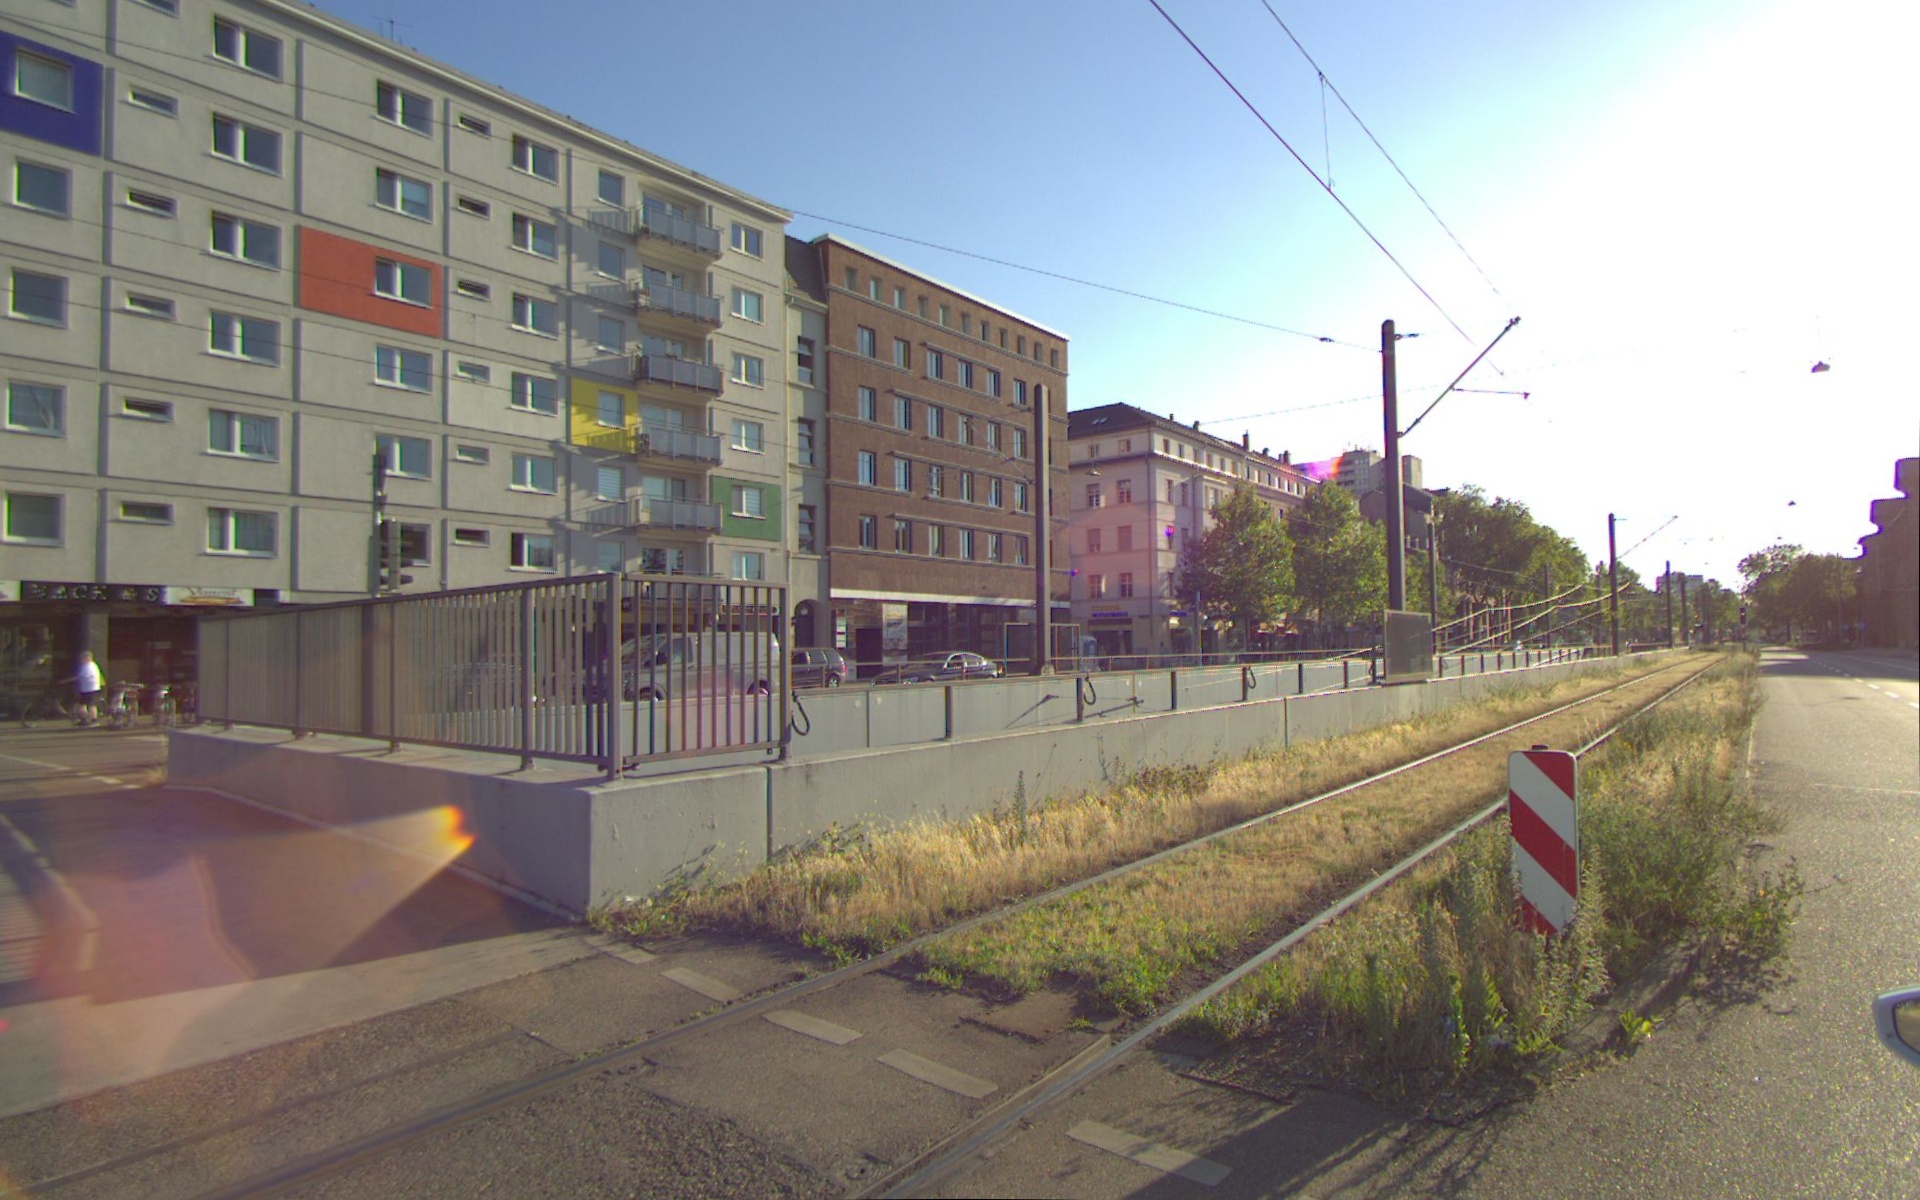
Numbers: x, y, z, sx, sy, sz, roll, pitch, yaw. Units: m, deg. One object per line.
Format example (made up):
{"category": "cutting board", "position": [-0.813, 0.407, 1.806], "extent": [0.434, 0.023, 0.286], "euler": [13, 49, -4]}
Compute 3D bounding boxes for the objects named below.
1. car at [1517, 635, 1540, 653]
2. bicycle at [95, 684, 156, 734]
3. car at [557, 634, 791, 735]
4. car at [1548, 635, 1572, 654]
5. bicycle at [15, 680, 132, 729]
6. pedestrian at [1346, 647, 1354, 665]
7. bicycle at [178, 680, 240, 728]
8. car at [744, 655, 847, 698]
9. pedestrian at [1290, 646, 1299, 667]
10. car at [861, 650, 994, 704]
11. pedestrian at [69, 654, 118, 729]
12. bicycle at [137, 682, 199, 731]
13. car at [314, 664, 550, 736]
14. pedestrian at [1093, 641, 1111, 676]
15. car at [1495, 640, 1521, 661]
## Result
{"category": "car", "position": [73.467, 5.654, 129.718], "extent": [1.970, 2.274, 3.983], "euler": [-2, -3, 39]}
{"category": "bicycle", "position": [-19.562, 2.522, 23.533], "extent": [2.266, 1.065, 0.733], "euler": [-3, -4, 41]}
{"category": "car", "position": [-6.347, 1.826, 22.855], "extent": [1.969, 2.040, 4.918], "euler": [-3, -3, 38]}
{"category": "car", "position": [65.727, 4.882, 110.005], "extent": [1.967, 2.040, 3.988], "euler": [-2, -3, 34]}
{"category": "bicycle", "position": [-21.396, 2.496, 24.305], "extent": [0.510, 1.105, 2.065], "euler": [-3, -4, 25]}
{"category": "pedestrian", "position": [37.117, 5.299, 95.550], "extent": [0.484, 1.731, 0.547], "euler": [-2, -3, 40]}
{"category": "bicycle", "position": [-18.572, 2.545, 24.818], "extent": [2.266, 1.065, 0.733], "euler": [-3, -3, 41]}
{"category": "car", "position": [-6.461, 2.988, 39.750], "extent": [1.670, 1.528, 3.984], "euler": [-3, -3, 38]}
{"category": "pedestrian", "position": [28.561, 4.842, 85.785], "extent": [0.484, 1.731, 0.547], "euler": [-2, -3, 40]}
{"category": "car", "position": [-0.886, 2.221, 29.349], "extent": [1.774, 1.391, 3.897], "euler": [-5, -5, 38]}
{"category": "pedestrian", "position": [-20.888, 2.205, 24.217], "extent": [0.672, 1.745, 0.610], "euler": [-3, -1, 24]}
{"category": "bicycle", "position": [-19.064, 2.543, 24.169], "extent": [2.266, 1.065, 0.733], "euler": [-3, -3, 41]}
{"category": "car", "position": [-11.341, 2.096, 21.818], "extent": [1.774, 1.330, 4.183], "euler": [-3, -3, 38]}
{"category": "pedestrian", "position": [8.269, 3.398, 58.528], "extent": [0.708, 2.040, 0.725], "euler": [-2, -3, 37]}
{"category": "car", "position": [55.457, 5.084, 101.627], "extent": [1.967, 2.040, 3.988], "euler": [-2, -3, 34]}
